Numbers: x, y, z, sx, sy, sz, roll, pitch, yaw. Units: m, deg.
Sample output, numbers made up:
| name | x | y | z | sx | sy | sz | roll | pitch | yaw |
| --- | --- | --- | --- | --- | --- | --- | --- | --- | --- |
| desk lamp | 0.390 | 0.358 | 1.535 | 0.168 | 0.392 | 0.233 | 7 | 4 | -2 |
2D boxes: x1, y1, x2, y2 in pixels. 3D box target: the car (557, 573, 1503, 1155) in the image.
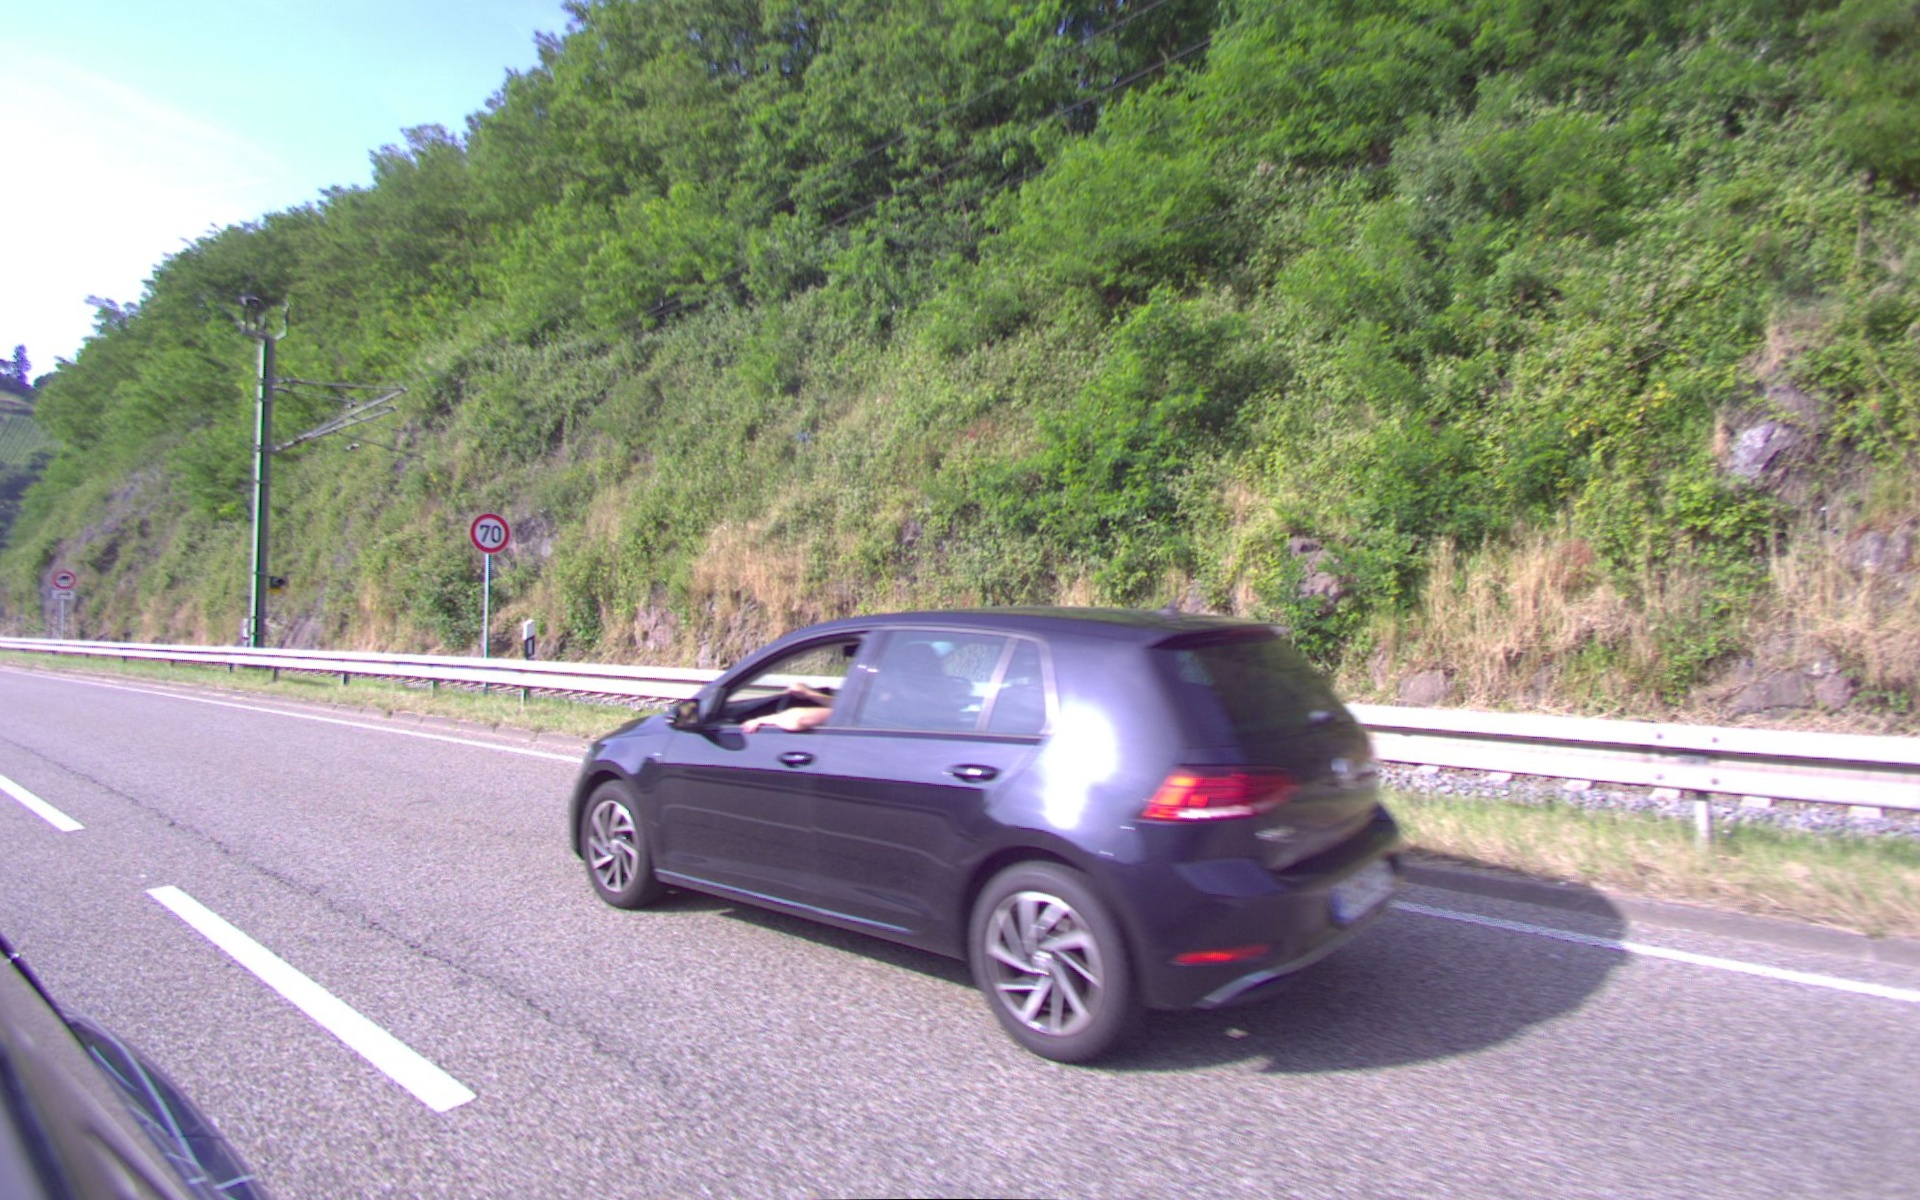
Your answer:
| name | x | y | z | sx | sy | sz | roll | pitch | yaw |
| --- | --- | --- | --- | --- | --- | --- | --- | --- | --- |
| car | 0.035 | 0.698 | 4.509 | 3.895 | 1.451 | 1.828 | -1 | -1 | 41 |
